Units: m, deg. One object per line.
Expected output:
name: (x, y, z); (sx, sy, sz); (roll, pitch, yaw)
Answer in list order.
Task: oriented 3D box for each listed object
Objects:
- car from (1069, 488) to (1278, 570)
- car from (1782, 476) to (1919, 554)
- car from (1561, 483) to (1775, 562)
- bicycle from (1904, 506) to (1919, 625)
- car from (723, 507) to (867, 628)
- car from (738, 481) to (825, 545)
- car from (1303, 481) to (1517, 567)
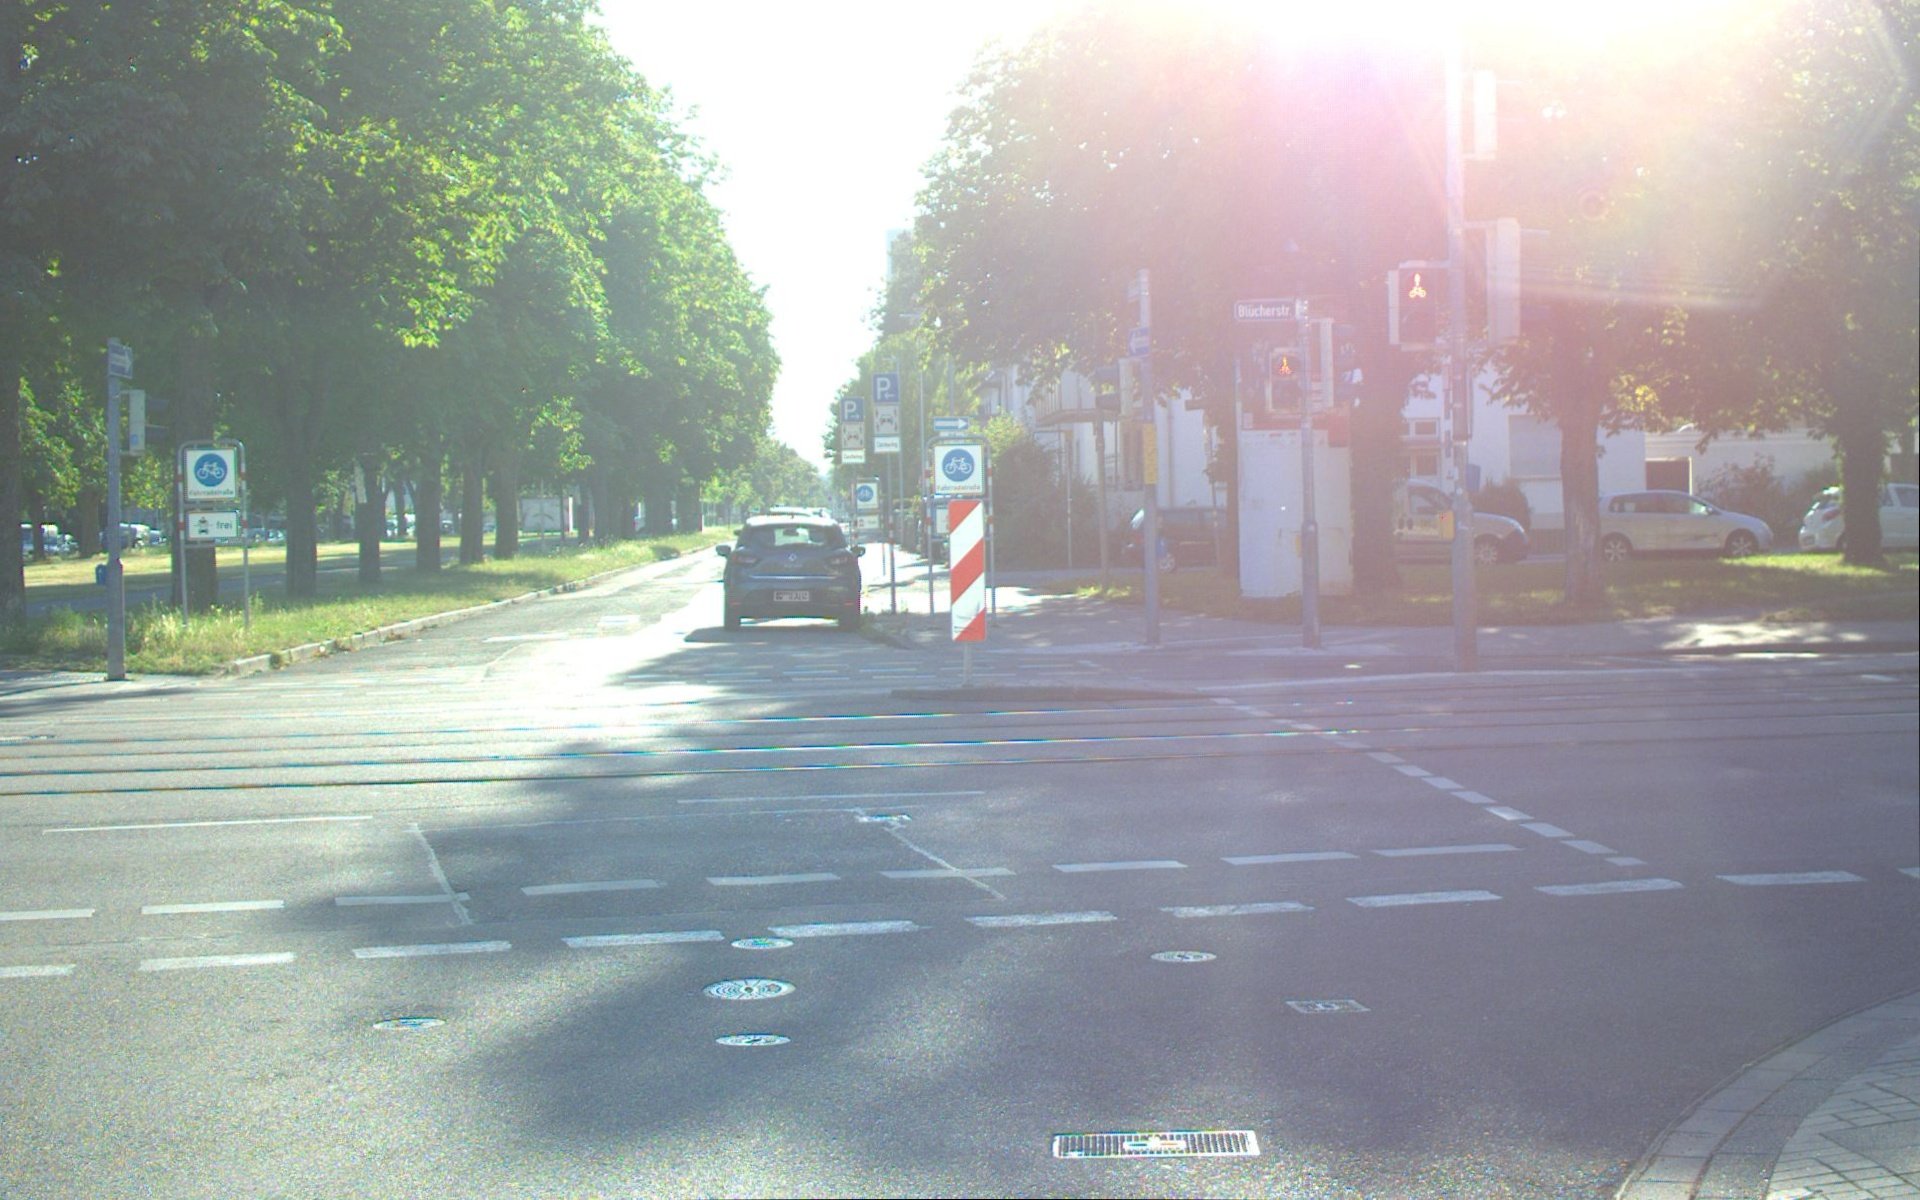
car: (4.014, -1.348, 64.962); (3.779, 1.422, 1.744); (-1, 3, -2)
car: (17.925, -1.647, 66.004); (3.844, 1.422, 1.598); (-1, 1, -6)
car: (13.424, -1.472, 65.233); (3.662, 1.422, 1.532); (-1, 1, -6)
bicycle: (10.083, -0.356, 32.833); (1.954, 1.128, 0.620); (-1, 1, 1)
car: (-2.066, -0.441, 43.860); (1.641, 1.446, 3.307); (-1, 2, 0)
car: (-4.008, -1.983, 77.768); (1.845, 1.389, 3.829); (-1, 2, -1)
car: (8.520, -1.456, 65.288); (3.779, 1.520, 1.744); (-1, 3, -2)
